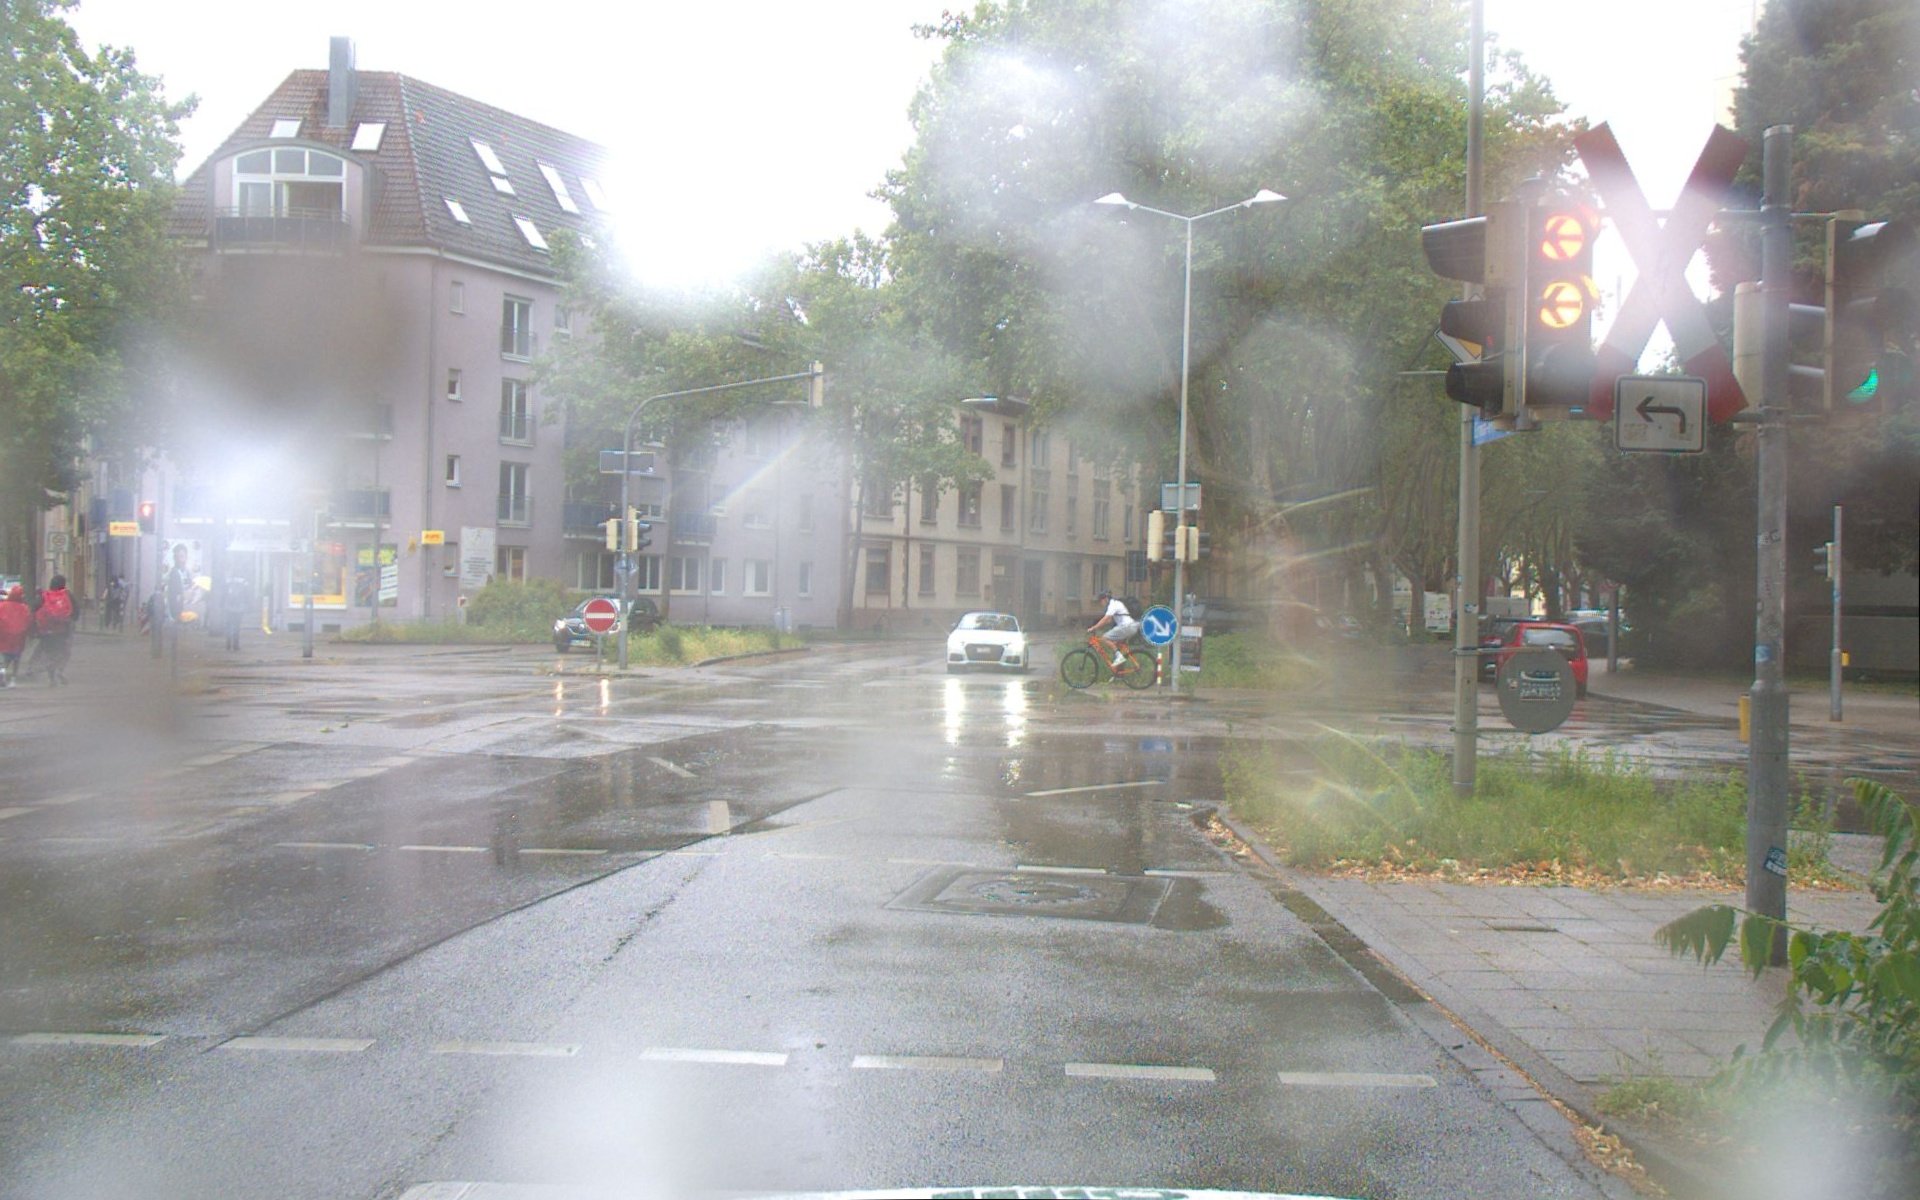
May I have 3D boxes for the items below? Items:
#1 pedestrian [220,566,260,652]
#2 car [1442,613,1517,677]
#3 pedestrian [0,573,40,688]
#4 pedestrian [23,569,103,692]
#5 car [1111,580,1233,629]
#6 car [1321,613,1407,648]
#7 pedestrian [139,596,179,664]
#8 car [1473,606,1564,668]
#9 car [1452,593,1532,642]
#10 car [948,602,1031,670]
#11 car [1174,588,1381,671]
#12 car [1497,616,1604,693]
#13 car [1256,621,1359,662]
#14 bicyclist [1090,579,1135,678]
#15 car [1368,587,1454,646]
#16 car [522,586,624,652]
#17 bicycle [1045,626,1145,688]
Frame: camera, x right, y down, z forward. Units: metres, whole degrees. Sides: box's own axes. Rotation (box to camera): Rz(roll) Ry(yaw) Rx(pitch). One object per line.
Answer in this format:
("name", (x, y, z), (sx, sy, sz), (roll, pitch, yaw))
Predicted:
("pedestrian", (-16.016, 0.205, 36.778), (0.777, 1.888, 0.676), (1, 0, -25))
("car", (14.992, 1.259, 47.913), (1.745, 1.757, 4.003), (1, 0, 13))
("pedestrian", (-12.970, 0.404, 22.400), (0.669, 1.546, 0.658), (1, 0, -8))
("pedestrian", (-12.283, 0.400, 22.674), (0.715, 1.653, 0.816), (0, 1, -8))
("car", (6.916, 0.158, 53.764), (3.784, 1.512, 1.717), (1, 0, 12))
("car", (19.264, 1.449, 78.930), (3.902, 1.574, 2.002), (1, 0, 12))
("pedestrian", (-17.039, 0.637, 35.178), (0.643, 1.420, 0.773), (1, 0, -35))
("car", (13.900, 0.882, 41.309), (1.745, 1.371, 3.932), (1, 1, 13))
("car", (33.672, 1.093, 104.817), (1.974, 3.000, 4.720), (1, 0, -31))
("car", (0.708, 0.804, 39.065), (1.845, 1.461, 4.001), (1, 0, 1))
("car", (6.288, 0.563, 32.796), (3.902, 1.512, 2.002), (1, 0, 12))
("car", (13.054, 1.166, 36.740), (1.754, 1.524, 4.003), (1, 0, 13))
("car", (13.783, 1.639, 65.622), (3.902, 1.512, 2.002), (1, 0, 12))
("bicyclist", (2.856, 0.536, 30.960), (0.778, 1.817, 0.697), (1, -1, 7))
("car", (23.957, 0.855, 88.073), (2.005, 3.000, 4.742), (1, 0, -21))
("car", (-9.623, 0.454, 41.348), (1.716, 1.538, 3.838), (1, 0, -2))
("bicycle", (2.542, 1.058, 30.992), (1.833, 1.100, 0.657), (1, 0, 7))
